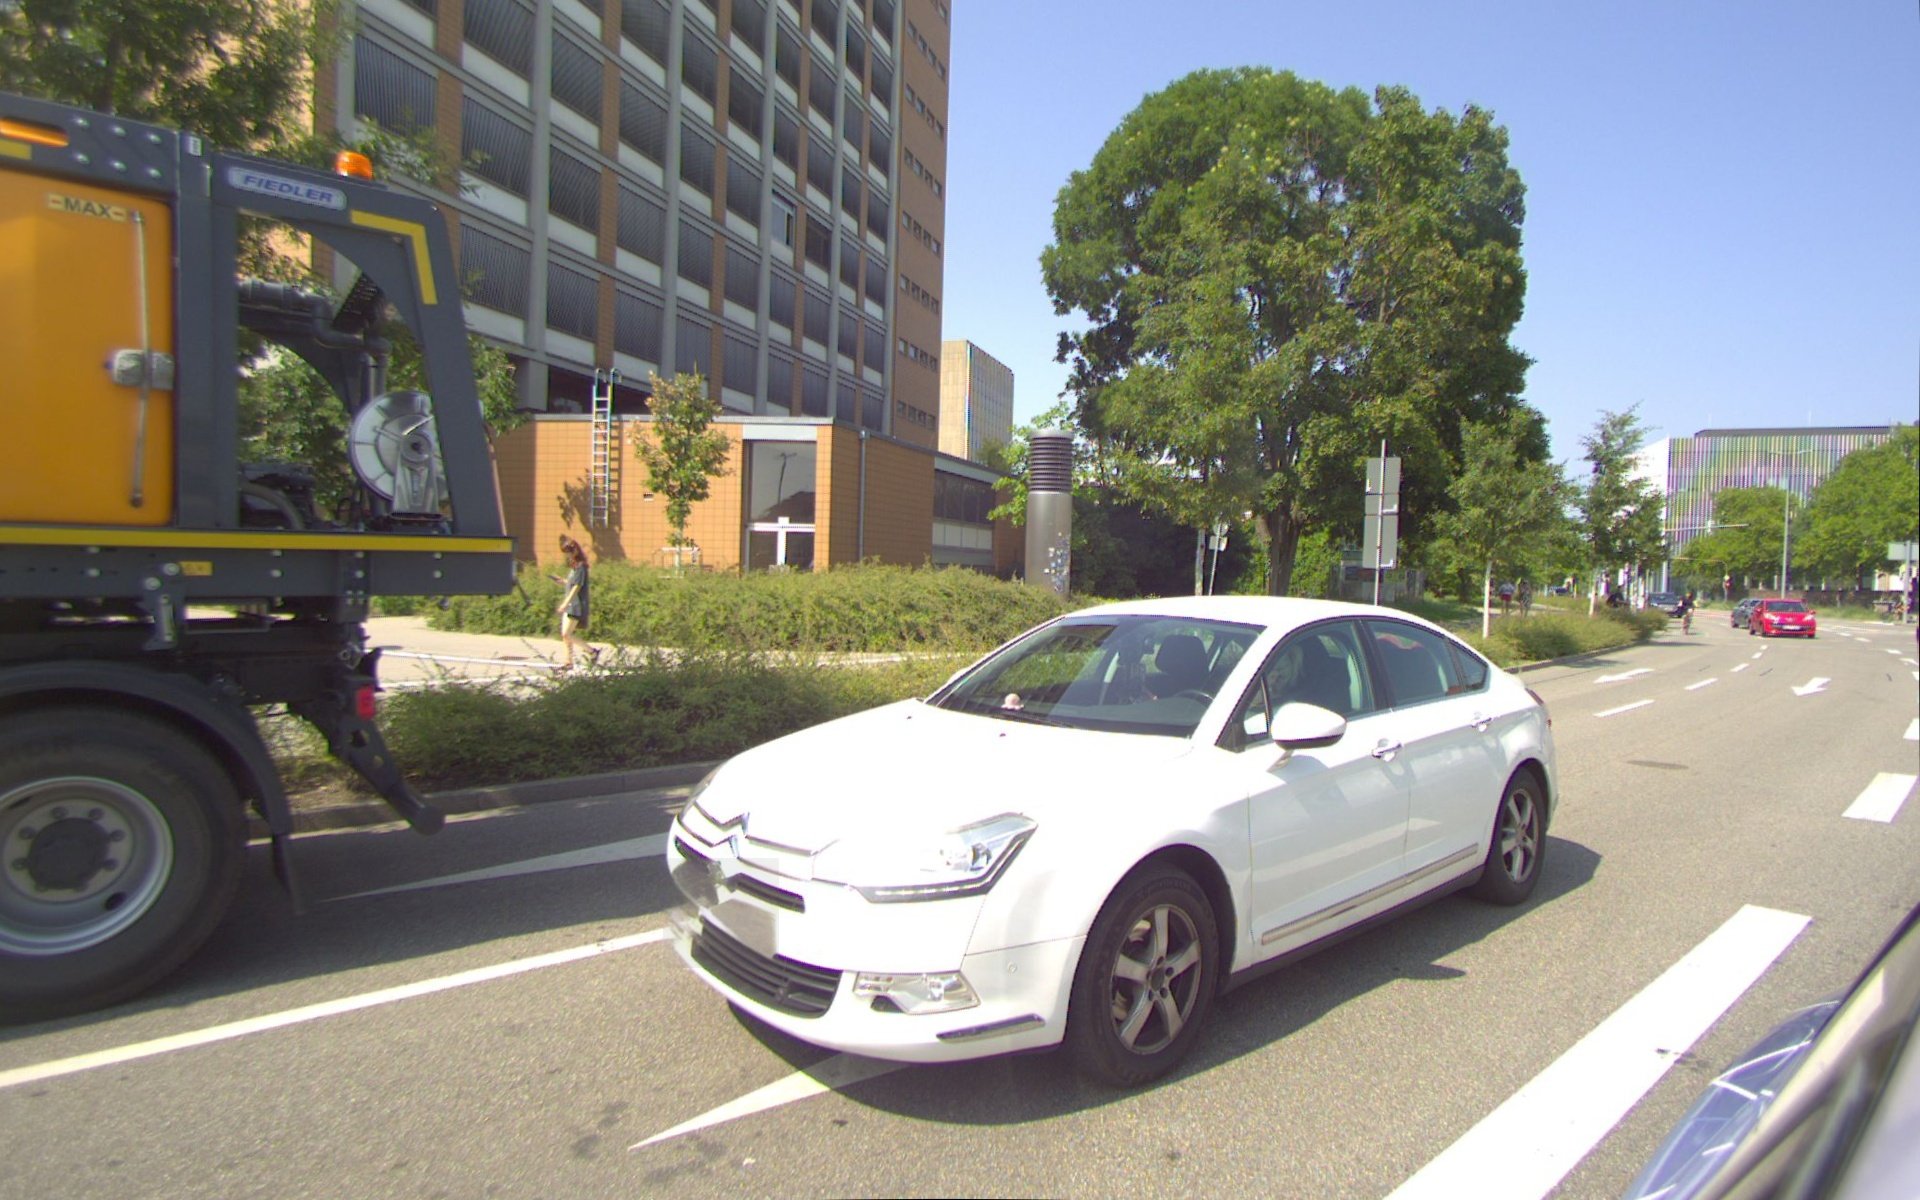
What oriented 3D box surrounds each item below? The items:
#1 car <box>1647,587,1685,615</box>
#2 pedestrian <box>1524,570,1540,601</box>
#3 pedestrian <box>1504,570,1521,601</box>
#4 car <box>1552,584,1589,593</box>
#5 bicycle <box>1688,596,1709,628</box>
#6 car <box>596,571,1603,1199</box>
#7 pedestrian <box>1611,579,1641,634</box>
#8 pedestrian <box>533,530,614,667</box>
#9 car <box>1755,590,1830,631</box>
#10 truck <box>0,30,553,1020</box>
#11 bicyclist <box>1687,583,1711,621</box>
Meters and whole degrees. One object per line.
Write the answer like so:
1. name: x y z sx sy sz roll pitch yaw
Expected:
1. car: 45.464 0.019 65.132 1.802 1.682 3.946 3 3 37
2. pedestrian: 24.107 -0.609 42.631 0.572 1.315 0.433 0 0 31
3. pedestrian: 23.491 -0.603 43.016 0.630 1.315 0.481 0 0 32
4. car: 91.192 -1.720 151.254 4.354 1.405 1.764 0 0 13
5. bicycle: 28.648 0.454 39.252 0.591 1.183 2.205 2 2 37
6. car: 0.985 0.650 4.437 4.527 1.446 1.773 0 2 -40
7. pedestrian: 23.912 0.231 36.338 0.818 1.926 0.622 2 1 37
8. pedestrian: -5.053 -0.031 13.242 0.792 1.720 0.671 0 1 -41
9. car: 31.641 0.354 38.563 1.637 1.449 3.774 1 1 31
10. truck: -5.142 -0.255 3.189 6.736 3.174 2.498 0 1 -39
11. bicyclist: 28.715 0.072 39.326 0.676 1.417 1.035 2 1 39
